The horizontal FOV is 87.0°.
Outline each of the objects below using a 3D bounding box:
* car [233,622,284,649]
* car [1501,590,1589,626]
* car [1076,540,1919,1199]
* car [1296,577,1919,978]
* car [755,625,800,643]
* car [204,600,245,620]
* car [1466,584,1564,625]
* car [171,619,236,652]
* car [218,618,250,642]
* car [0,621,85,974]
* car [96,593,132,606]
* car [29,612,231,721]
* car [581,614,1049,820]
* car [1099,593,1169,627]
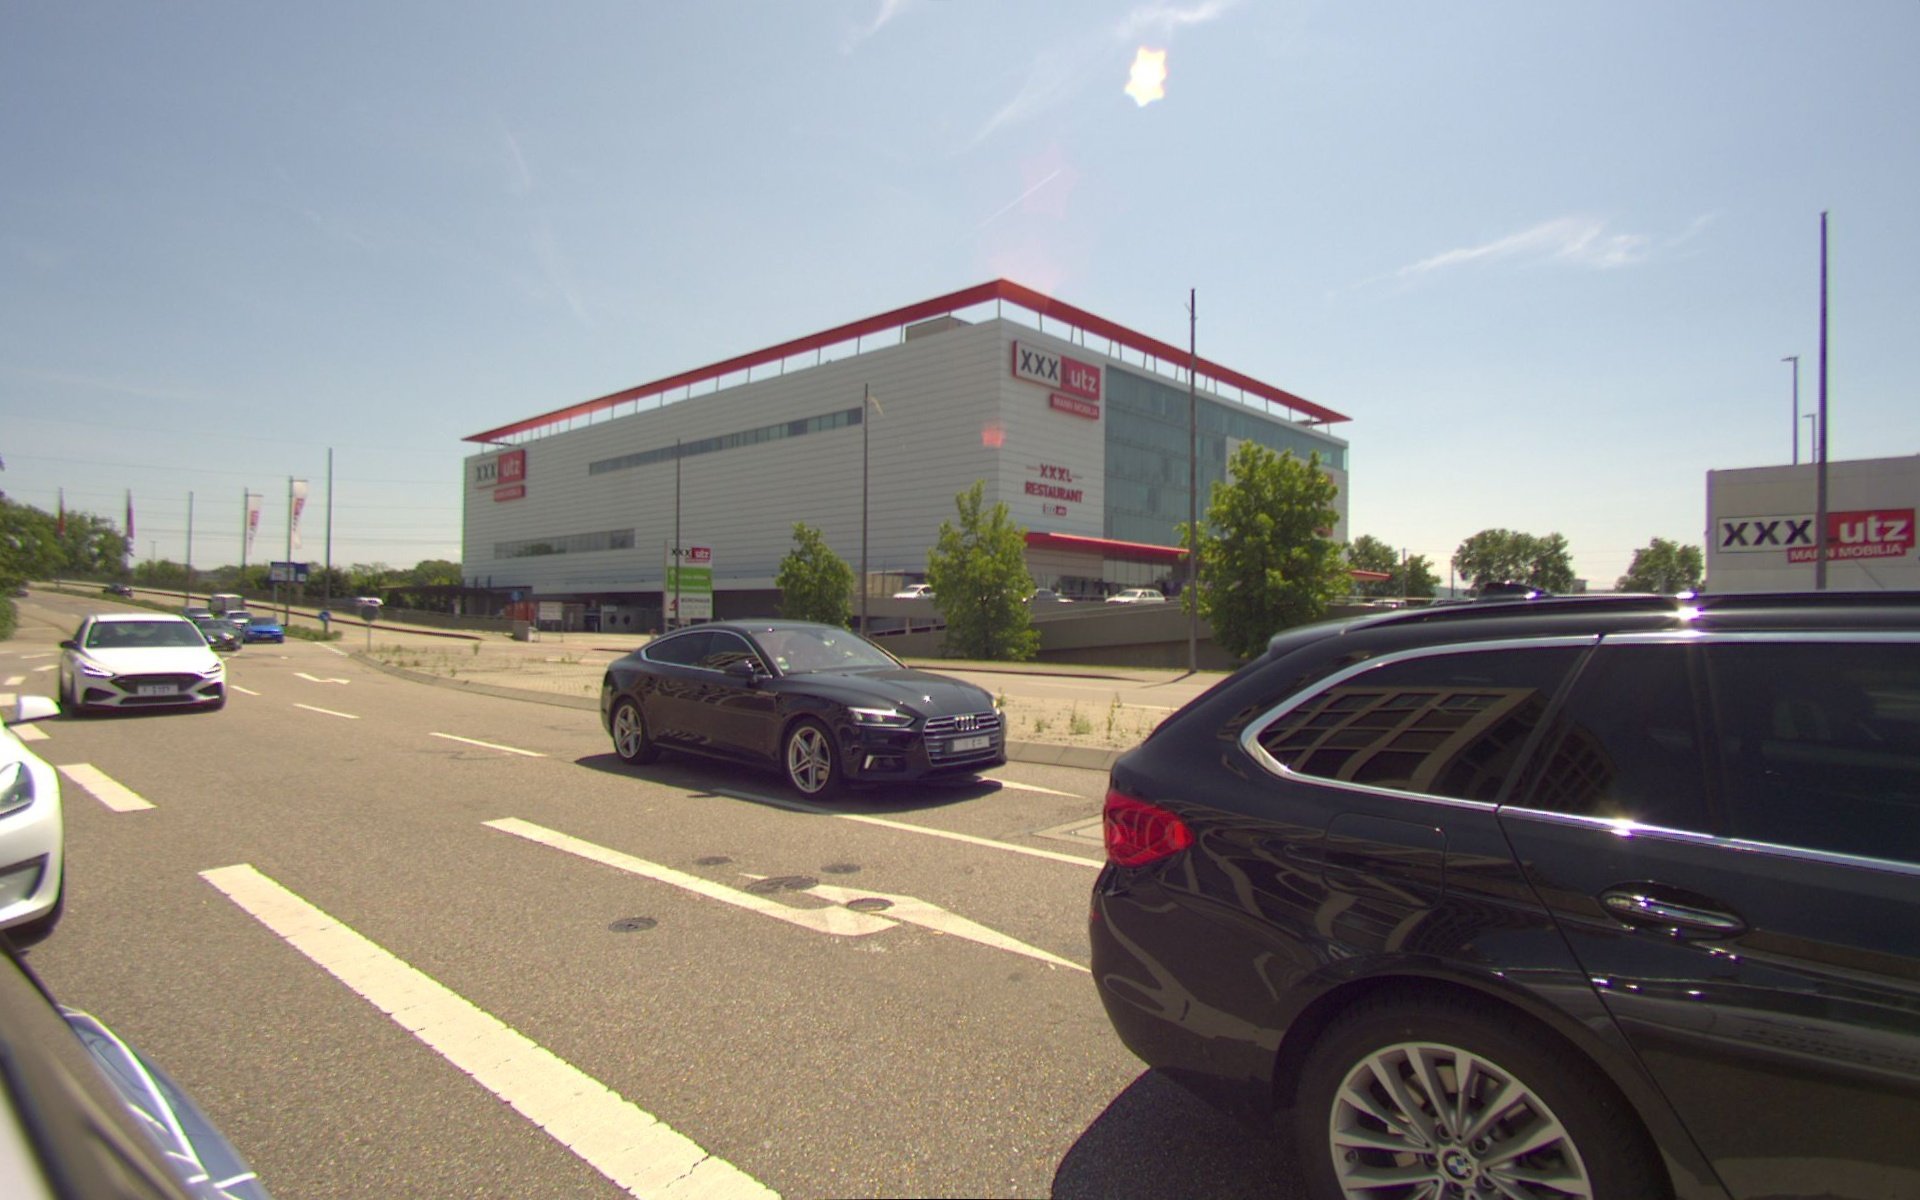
[{"bbox_3d":[-38.291,1.917,55.191,1.775,1.424,4.412,2,-2,-41],"label":"car"},{"bbox_3d":[32.390,0.471,56.063,3.996,1.923,1.974,-1,-2,39],"label":"car"},{"bbox_3d":[2.615,0.639,1.669,4.620,1.477,1.781,-1,-1,40],"label":"car"},{"bbox_3d":[3.849,0.676,4.722,3.991,1.505,1.782,-1,-1,36],"label":"car"},{"bbox_3d":[-16.826,3.124,93.275,1.911,1.632,3.698,0,-2,41],"label":"car"},{"bbox_3d":[-69.742,0.963,95.944,4.833,1.864,1.813,-1,-2,38],"label":"car"},{"bbox_3d":[27.728,0.269,50.612,3.998,1.946,1.973,-1,-2,41],"label":"car"},{"bbox_3d":[-33.301,1.551,44.520,1.776,1.388,4.410,2,-2,-43],"label":"car"},{"bbox_3d":[-51.007,2.110,71.043,1.653,1.587,4.066,4,-3,-37],"label":"car"},{"bbox_3d":[-6.041,0.832,5.009,4.401,1.436,1.857,-1,-1,39],"label":"car"},{"bbox_3d":[-92.890,-0.086,111.132,3.880,1.312,1.841,0,-3,32],"label":"car"},{"bbox_3d":[-12.898,0.949,15.633,4.228,1.461,1.712,-1,-2,41],"label":"car"},{"bbox_3d":[-1.524,0.863,9.134,4.533,1.401,1.729,-2,-2,43],"label":"car"},{"bbox_3d":[9.927,0.579,57.562,2.001,1.781,4.140,0,-2,44],"label":"car"}]
